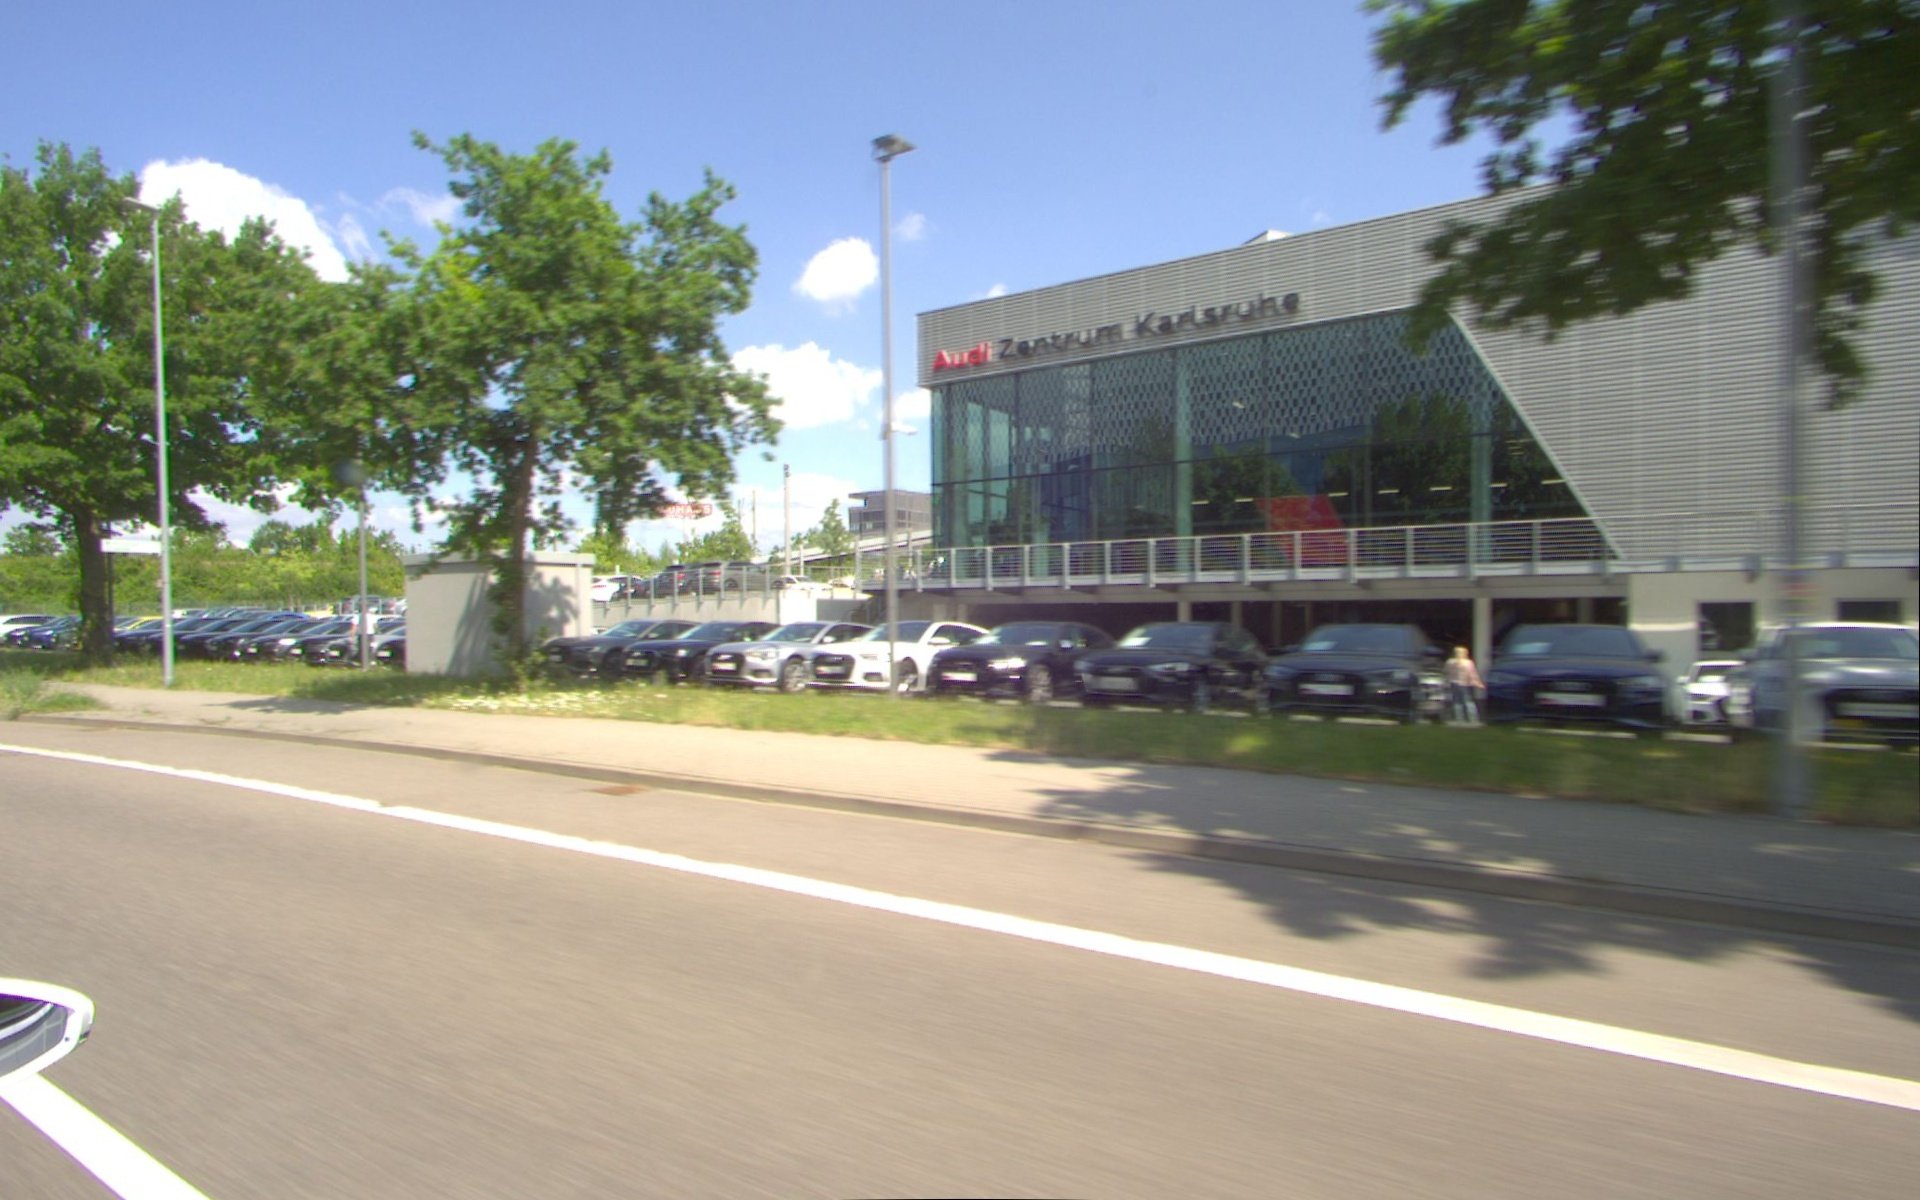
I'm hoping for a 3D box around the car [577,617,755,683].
[{"bbox_3d":[-7.580,1.244,26.205,1.830,1.532,4.344,-1,-1,34],"label":"car"}]

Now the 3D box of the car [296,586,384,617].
[{"bbox_3d":[-39.079,0.114,63.203,1.910,1.798,4.342,1,0,36],"label":"car"}]

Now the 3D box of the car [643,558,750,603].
[{"bbox_3d":[-11.579,-0.812,44.235,1.910,1.798,4.342,1,0,36],"label":"car"}]

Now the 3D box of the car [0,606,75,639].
[{"bbox_3d":[-45.469,1.067,47.874,1.907,1.532,4.348,1,0,32],"label":"car"}]

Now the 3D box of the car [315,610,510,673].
[{"bbox_3d":[-14.986,1.099,27.645,1.907,1.532,4.348,1,0,32],"label":"car"}]

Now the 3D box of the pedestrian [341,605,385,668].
[{"bbox_3d":[-14.561,0.881,24.437,0.761,1.479,0.632,2,0,32],"label":"pedestrian"}]

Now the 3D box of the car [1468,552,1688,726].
[{"bbox_3d":[7.530,0.416,12.220,1.880,1.700,4.566,1,0,33],"label":"car"}]

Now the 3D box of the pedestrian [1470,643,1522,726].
[{"bbox_3d":[12.209,1.898,22.820,0.773,1.797,0.815,1,0,-44],"label":"pedestrian"}]

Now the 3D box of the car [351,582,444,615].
[{"bbox_3d":[-32.937,-0.060,58.699,1.910,1.798,4.342,1,0,36],"label":"car"}]

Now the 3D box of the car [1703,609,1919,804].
[{"bbox_3d":[9.518,1.003,10.953,1.880,1.700,4.566,1,0,33],"label":"car"}]

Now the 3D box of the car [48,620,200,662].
[{"bbox_3d":[-33.533,1.614,40.291,1.907,1.532,4.348,1,0,32],"label":"car"}]

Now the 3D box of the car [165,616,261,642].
[{"bbox_3d":[-45.515,1.746,61.121,1.880,1.518,4.337,-1,-1,33],"label":"car"}]

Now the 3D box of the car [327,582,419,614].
[{"bbox_3d":[-35.195,-0.086,60.129,1.910,1.798,4.342,1,0,36],"label":"car"}]

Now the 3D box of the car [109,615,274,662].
[{"bbox_3d":[-27.686,1.363,36.218,1.907,1.532,4.348,1,0,32],"label":"car"}]

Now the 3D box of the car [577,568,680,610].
[{"bbox_3d":[-15.704,-0.487,47.570,1.910,1.798,4.342,1,0,36],"label":"car"}]

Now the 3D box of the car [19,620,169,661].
[{"bbox_3d":[-35.896,1.649,41.612,1.907,1.532,4.348,1,0,32],"label":"car"}]

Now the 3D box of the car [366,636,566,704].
[{"bbox_3d":[-12.868,1.752,26.332,1.884,1.532,4.345,1,0,34],"label":"car"}]

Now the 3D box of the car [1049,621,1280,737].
[{"bbox_3d":[3.262,1.076,15.196,1.880,1.423,4.566,1,-1,33],"label":"car"}]

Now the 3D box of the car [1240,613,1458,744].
[{"bbox_3d":[5.472,0.946,13.688,1.880,1.423,4.566,1,-1,33],"label":"car"}]

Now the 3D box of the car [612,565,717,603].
[{"bbox_3d":[-13.566,-0.709,46.183,1.910,1.572,4.342,1,0,36],"label":"car"}]

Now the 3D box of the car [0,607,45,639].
[{"bbox_3d":[-47.766,1.121,48.776,1.907,1.532,4.348,1,0,32],"label":"car"}]

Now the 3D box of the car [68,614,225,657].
[{"bbox_3d":[-31.549,1.350,38.958,1.907,1.532,4.348,1,0,32],"label":"car"}]

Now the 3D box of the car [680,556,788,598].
[{"bbox_3d":[-9.623,-0.962,42.922,1.910,1.572,4.342,1,0,36],"label":"car"}]

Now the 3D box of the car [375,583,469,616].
[{"bbox_3d":[-30.766,-0.012,57.320,1.910,1.798,4.342,1,0,36],"label":"car"}]

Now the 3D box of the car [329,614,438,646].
[{"bbox_3d":[-28.690,1.464,49.948,1.880,1.518,4.337,-1,-1,33],"label":"car"}]

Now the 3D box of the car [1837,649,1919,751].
[{"bbox_3d":[17.417,1.732,17.977,1.880,1.518,4.337,-1,-1,33],"label":"car"}]

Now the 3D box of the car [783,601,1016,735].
[{"bbox_3d":[-0.946,1.127,18.272,1.880,2.076,4.566,2,0,33],"label":"car"}]

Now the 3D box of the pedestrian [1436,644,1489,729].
[{"bbox_3d":[11.088,1.882,22.091,0.773,1.797,0.815,1,0,-44],"label":"pedestrian"}]

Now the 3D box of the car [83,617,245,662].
[{"bbox_3d":[-29.680,1.448,37.474,1.907,1.532,4.348,1,0,32],"label":"car"}]

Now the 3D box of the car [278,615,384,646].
[{"bbox_3d":[-33.080,1.576,52.758,1.880,1.518,4.337,-1,-1,33],"label":"car"}]

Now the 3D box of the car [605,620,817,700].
[{"bbox_3d":[-5.017,1.168,20.697,1.830,1.464,4.098,0,-1,34],"label":"car"}]

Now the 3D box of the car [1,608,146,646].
[{"bbox_3d":[-38.333,1.167,43.391,1.907,1.532,4.348,1,0,32],"label":"car"}]

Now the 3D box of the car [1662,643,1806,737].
[{"bbox_3d":[15.292,1.694,19.997,1.880,1.518,4.337,-1,-1,33],"label":"car"}]

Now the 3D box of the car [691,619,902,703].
[{"bbox_3d":[-3.050,1.093,19.473,1.792,1.422,4.098,-1,-1,33],"label":"car"}]

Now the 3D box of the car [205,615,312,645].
[{"bbox_3d":[-37.817,1.613,54.070,1.880,1.518,4.337,-1,-1,33],"label":"car"}]

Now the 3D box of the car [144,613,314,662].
[{"bbox_3d":[-25.066,1.253,34.497,1.907,1.532,4.348,1,0,32],"label":"car"}]

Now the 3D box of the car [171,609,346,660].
[{"bbox_3d":[-23.163,1.112,33.222,1.907,1.532,4.348,1,0,32],"label":"car"}]

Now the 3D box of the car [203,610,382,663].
[{"bbox_3d":[-21.070,1.123,31.782,1.907,1.532,4.348,1,0,32],"label":"car"}]

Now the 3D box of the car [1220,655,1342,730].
[{"bbox_3d":[8.216,2.261,25.389,1.880,1.518,4.337,-1,-1,33],"label":"car"}]

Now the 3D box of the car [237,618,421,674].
[{"bbox_3d":[-19.050,1.344,30.441,1.907,1.532,4.348,1,0,32],"label":"car"}]

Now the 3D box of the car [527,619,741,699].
[{"bbox_3d":[-7.100,1.222,22.230,1.830,1.532,4.344,-1,-1,34],"label":"car"}]

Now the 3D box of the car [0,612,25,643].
[{"bbox_3d":[-49.952,1.344,50.083,1.907,1.532,4.348,1,0,32],"label":"car"}]

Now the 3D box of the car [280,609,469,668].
[{"bbox_3d":[-16.903,1.077,29.116,1.907,1.532,4.348,1,0,32],"label":"car"}]

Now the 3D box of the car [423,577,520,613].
[{"bbox_3d":[-26.431,-0.258,54.283,1.910,1.798,4.342,1,0,36],"label":"car"}]

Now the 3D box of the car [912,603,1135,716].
[{"bbox_3d":[1.215,1.068,16.675,1.760,1.530,4.345,1,-5,33],"label":"car"}]

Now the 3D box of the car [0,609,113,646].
[{"bbox_3d":[-40.691,1.204,44.469,1.907,1.532,4.348,1,0,32],"label":"car"}]

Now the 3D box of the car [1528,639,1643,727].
[{"bbox_3d":[13.214,1.648,21.149,1.880,1.518,4.337,-1,-1,33],"label":"car"}]
